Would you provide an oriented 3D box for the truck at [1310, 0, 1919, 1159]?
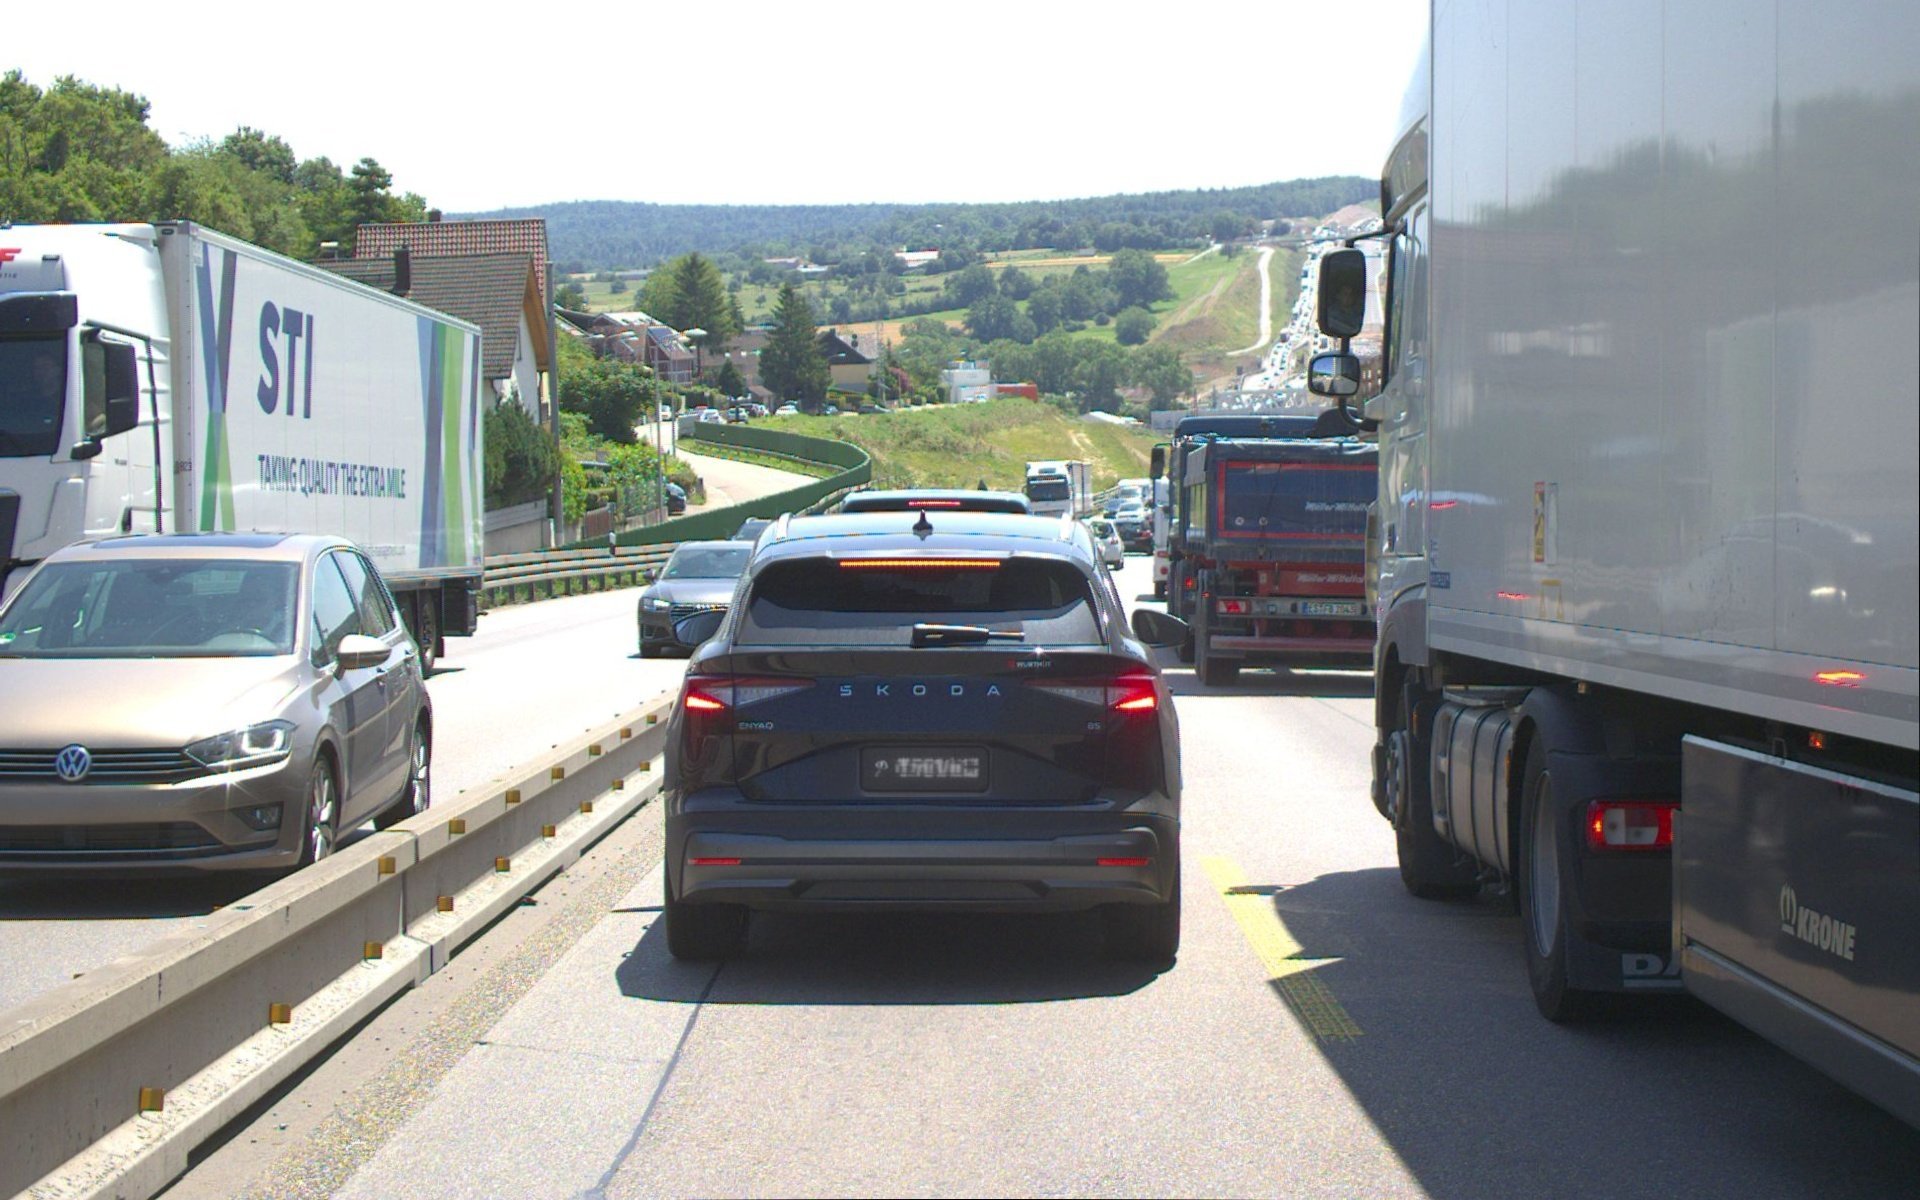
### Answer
[{"bbox_3d":[2.973,-0.753,11.996,2.513,4.011,8.238,1,1,-1],"label":"truck"}]

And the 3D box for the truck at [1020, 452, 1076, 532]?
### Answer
[{"bbox_3d":[4.807,-5.892,187.696,2.752,4.268,4.957,1,2,4],"label":"truck"}]

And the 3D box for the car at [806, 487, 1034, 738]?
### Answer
[{"bbox_3d":[-0.395,0.032,28.274,1.706,1.875,4.001,1,2,-3],"label":"car"}]

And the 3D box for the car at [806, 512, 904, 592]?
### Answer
[{"bbox_3d":[-2.183,-1.008,72.708,1.819,1.581,4.159,3,1,1],"label":"car"}]

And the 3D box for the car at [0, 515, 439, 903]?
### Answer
[{"bbox_3d":[-3.600,0.419,15.907,1.845,1.568,4.000,0,1,-1],"label":"car"}]

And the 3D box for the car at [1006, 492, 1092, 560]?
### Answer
[{"bbox_3d":[2.162,-1.769,83.047,1.993,1.579,3.836,1,1,2],"label":"car"}]

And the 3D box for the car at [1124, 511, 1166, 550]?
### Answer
[{"bbox_3d":[8.499,-3.185,157.663,1.701,1.722,3.835,1,1,6],"label":"car"}]

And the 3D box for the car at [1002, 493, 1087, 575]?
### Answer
[{"bbox_3d":[1.741,-1.402,71.544,1.707,1.616,4.000,1,2,1],"label":"car"}]

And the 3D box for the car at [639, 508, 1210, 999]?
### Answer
[{"bbox_3d":[-0.201,0.484,13.194,1.842,1.581,3.908,1,1,-3],"label":"car"}]

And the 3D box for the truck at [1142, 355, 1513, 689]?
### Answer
[{"bbox_3d":[3.869,-0.813,39.461,3.195,3.180,12.808,1,1,2],"label":"truck"}]

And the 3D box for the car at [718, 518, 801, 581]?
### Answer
[{"bbox_3d":[-4.781,-1.203,82.327,1.706,1.460,3.681,1,1,1],"label":"car"}]

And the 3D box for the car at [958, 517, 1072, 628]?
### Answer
[{"bbox_3d":[0.874,-0.465,54.646,1.707,1.616,4.000,1,2,1],"label":"car"}]

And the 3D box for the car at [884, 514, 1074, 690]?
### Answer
[{"bbox_3d":[0.143,-0.031,35.066,1.706,1.616,4.001,1,2,-3],"label":"car"}]

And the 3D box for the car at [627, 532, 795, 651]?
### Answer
[{"bbox_3d":[-3.169,-0.130,44.561,1.790,1.448,4.635,-1,1,1],"label":"car"}]

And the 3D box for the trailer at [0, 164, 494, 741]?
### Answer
[{"bbox_3d":[-7.231,-1.206,33.217,3.252,4.363,14.058,1,1,1],"label":"trailer"}]

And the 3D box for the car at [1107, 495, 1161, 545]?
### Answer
[{"bbox_3d":[6.254,-2.855,123.137,1.701,1.722,3.835,1,1,6],"label":"car"}]

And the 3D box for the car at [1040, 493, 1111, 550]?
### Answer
[{"bbox_3d":[3.324,-2.242,98.940,1.993,1.579,3.836,1,1,2],"label":"car"}]

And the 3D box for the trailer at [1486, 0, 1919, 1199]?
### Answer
[{"bbox_3d":[3.038,-0.779,5.275,2.532,4.113,11.548,1,1,0],"label":"trailer"}]

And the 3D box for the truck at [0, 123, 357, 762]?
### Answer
[{"bbox_3d":[-7.352,-1.138,27.665,3.303,4.347,8.301,1,1,1],"label":"truck"}]
